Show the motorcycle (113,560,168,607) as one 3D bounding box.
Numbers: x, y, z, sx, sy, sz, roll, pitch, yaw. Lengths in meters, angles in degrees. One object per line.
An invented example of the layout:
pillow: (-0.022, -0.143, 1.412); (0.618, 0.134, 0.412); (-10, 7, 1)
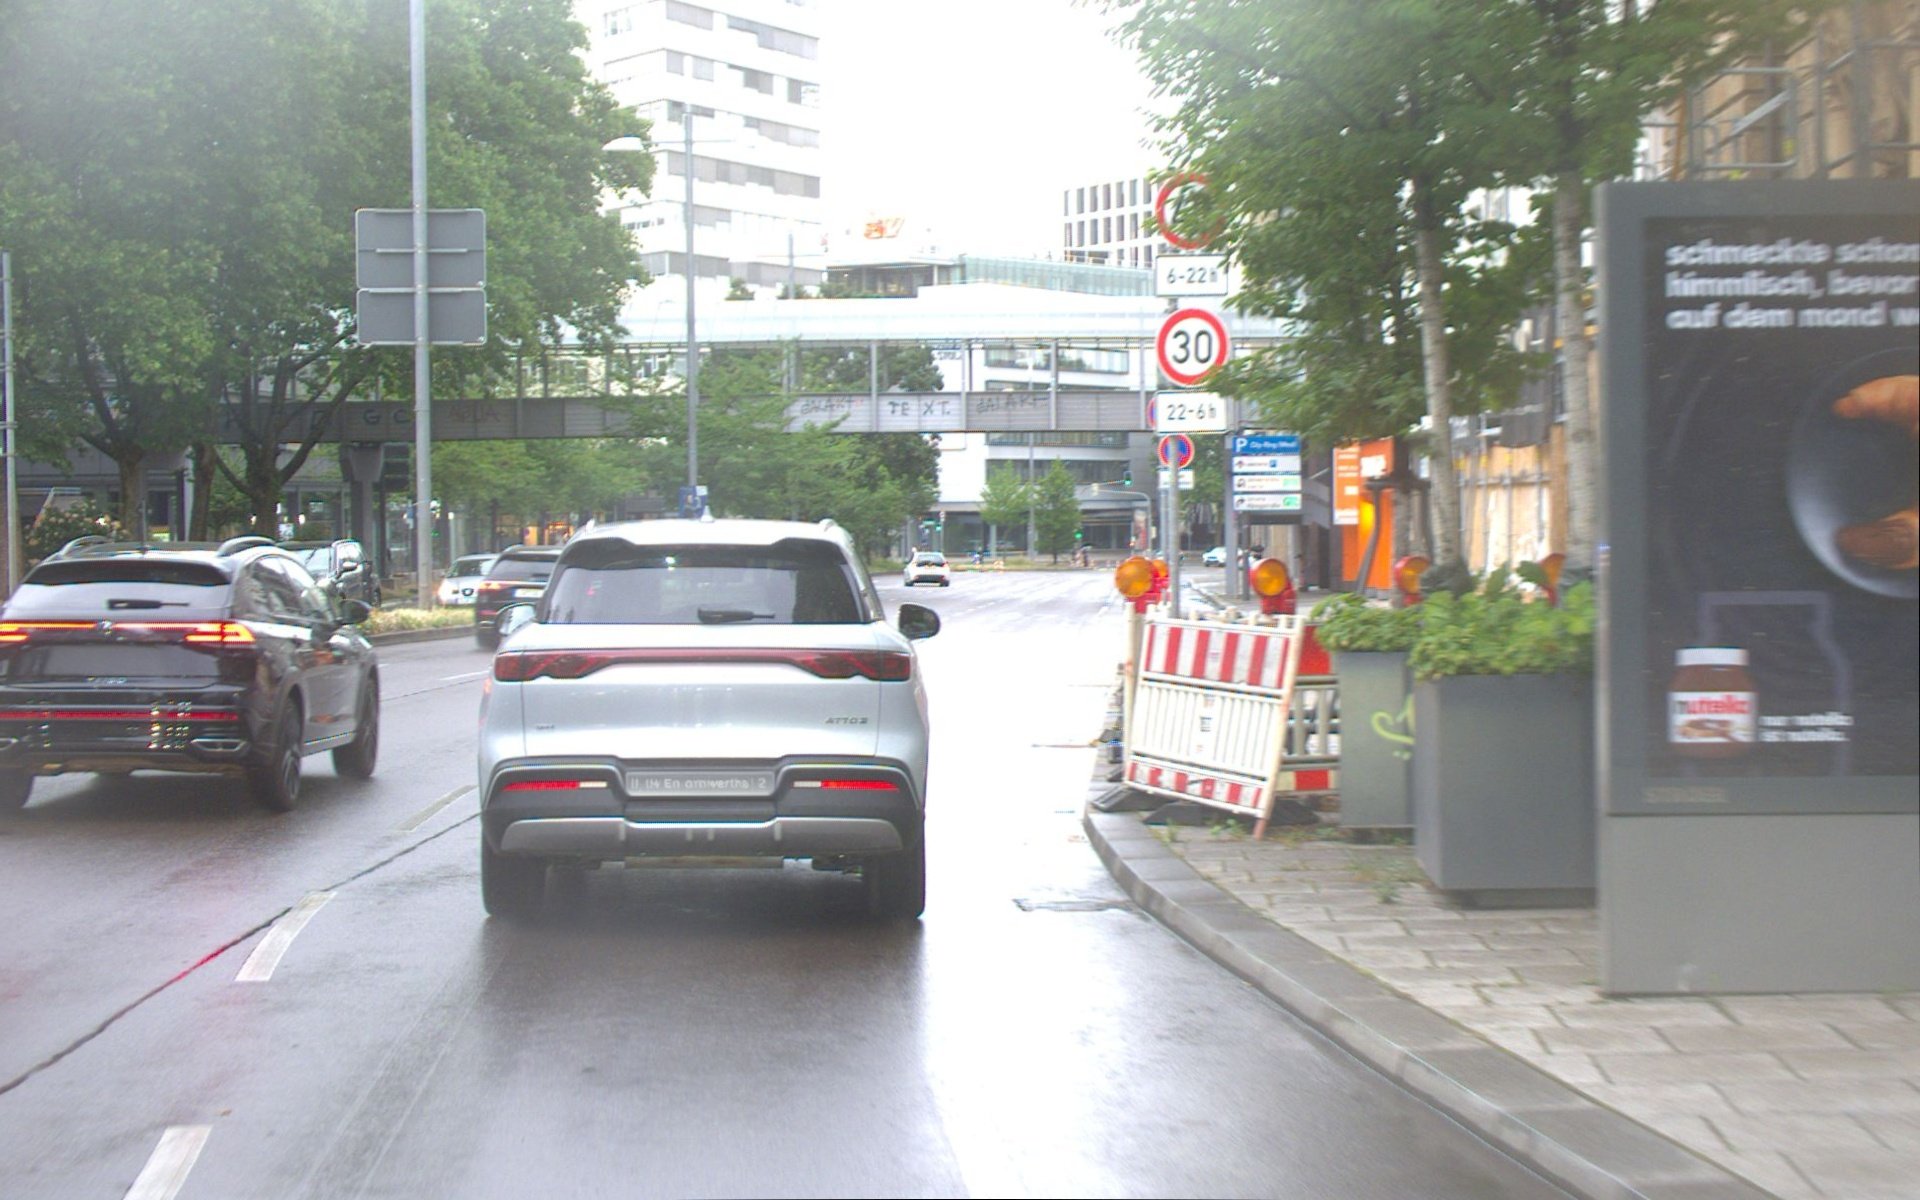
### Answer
motorcycle: (-16.939, -0.343, 71.073); (0.694, 0.966, 1.396); (0, 1, 4)

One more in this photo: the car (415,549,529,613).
car: (-10.719, -0.409, 75.784); (1.597, 1.355, 4.116); (0, 0, 5)

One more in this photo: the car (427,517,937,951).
car: (-1.183, 0.480, 15.058); (1.901, 1.616, 4.001); (1, 1, -4)

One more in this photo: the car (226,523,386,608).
car: (-11.440, -0.585, 60.395); (1.700, 1.432, 4.582); (0, 0, 3)

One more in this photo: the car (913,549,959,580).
car: (-1.024, -1.539, 149.233); (1.654, 1.337, 3.999); (1, 1, 5)

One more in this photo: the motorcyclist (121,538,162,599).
motorcyclist: (-16.931, -0.651, 71.105); (0.675, 1.234, 0.619); (0, 0, 4)

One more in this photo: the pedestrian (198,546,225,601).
pedestrian: (-24.855, -0.886, 114.137); (0.722, 1.801, 0.617); (0, 1, 3)

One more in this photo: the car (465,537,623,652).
car: (-5.914, -0.106, 49.235); (1.811, 1.573, 4.000); (0, 1, -1)

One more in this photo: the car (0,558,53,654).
car: (-15.148, 0.098, 51.178); (1.727, 1.428, 4.394); (0, 0, 6)

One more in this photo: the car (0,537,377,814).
car: (-4.522, 0.395, 20.093); (1.774, 1.452, 4.000); (0, 0, -3)
